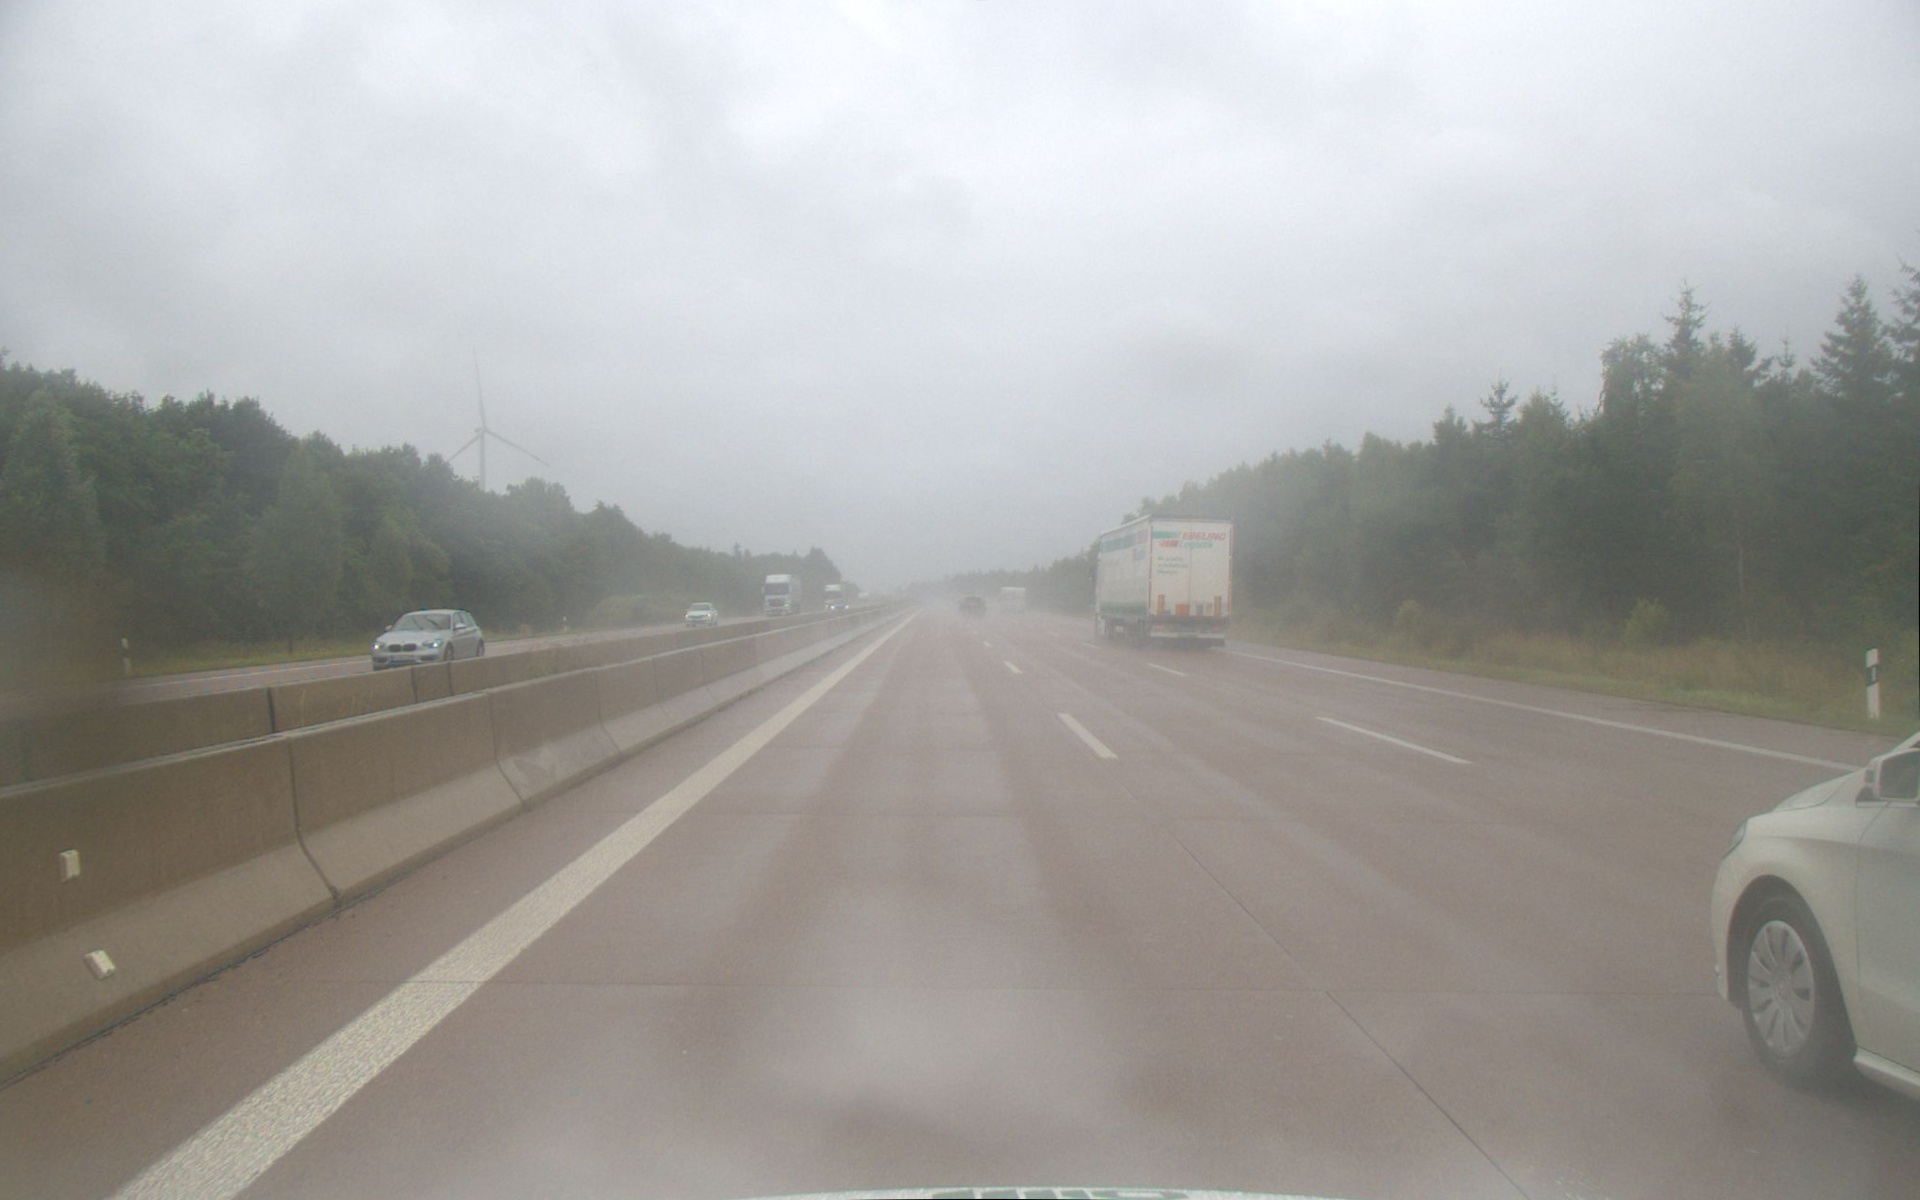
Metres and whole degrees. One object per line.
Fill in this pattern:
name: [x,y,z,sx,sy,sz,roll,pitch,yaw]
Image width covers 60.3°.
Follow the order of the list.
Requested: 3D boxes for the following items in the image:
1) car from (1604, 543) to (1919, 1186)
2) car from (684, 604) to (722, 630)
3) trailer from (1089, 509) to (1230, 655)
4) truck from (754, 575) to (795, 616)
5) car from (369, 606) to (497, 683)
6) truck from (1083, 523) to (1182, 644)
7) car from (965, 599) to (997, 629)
car: [3.539,0.744,4.242,1.772,1.758,4.742,1,0,-2]
car: [-16.302,1.063,105.145,1.718,1.506,4.582,-3,0,-1]
trailer: [6.466,-0.596,55.844,2.795,4.305,13.128,-1,1,-1]
truck: [-18.744,-0.417,167.867,3.402,3.957,7.462,1,0,-1]
car: [-12.541,1.008,39.635,1.772,1.660,4.502,-2,0,-3]
truck: [6.323,-0.610,61.425,2.822,4.178,6.348,-1,0,-1]
car: [1.436,0.937,113.319,2.129,2.016,4.129,0,0,-1]
